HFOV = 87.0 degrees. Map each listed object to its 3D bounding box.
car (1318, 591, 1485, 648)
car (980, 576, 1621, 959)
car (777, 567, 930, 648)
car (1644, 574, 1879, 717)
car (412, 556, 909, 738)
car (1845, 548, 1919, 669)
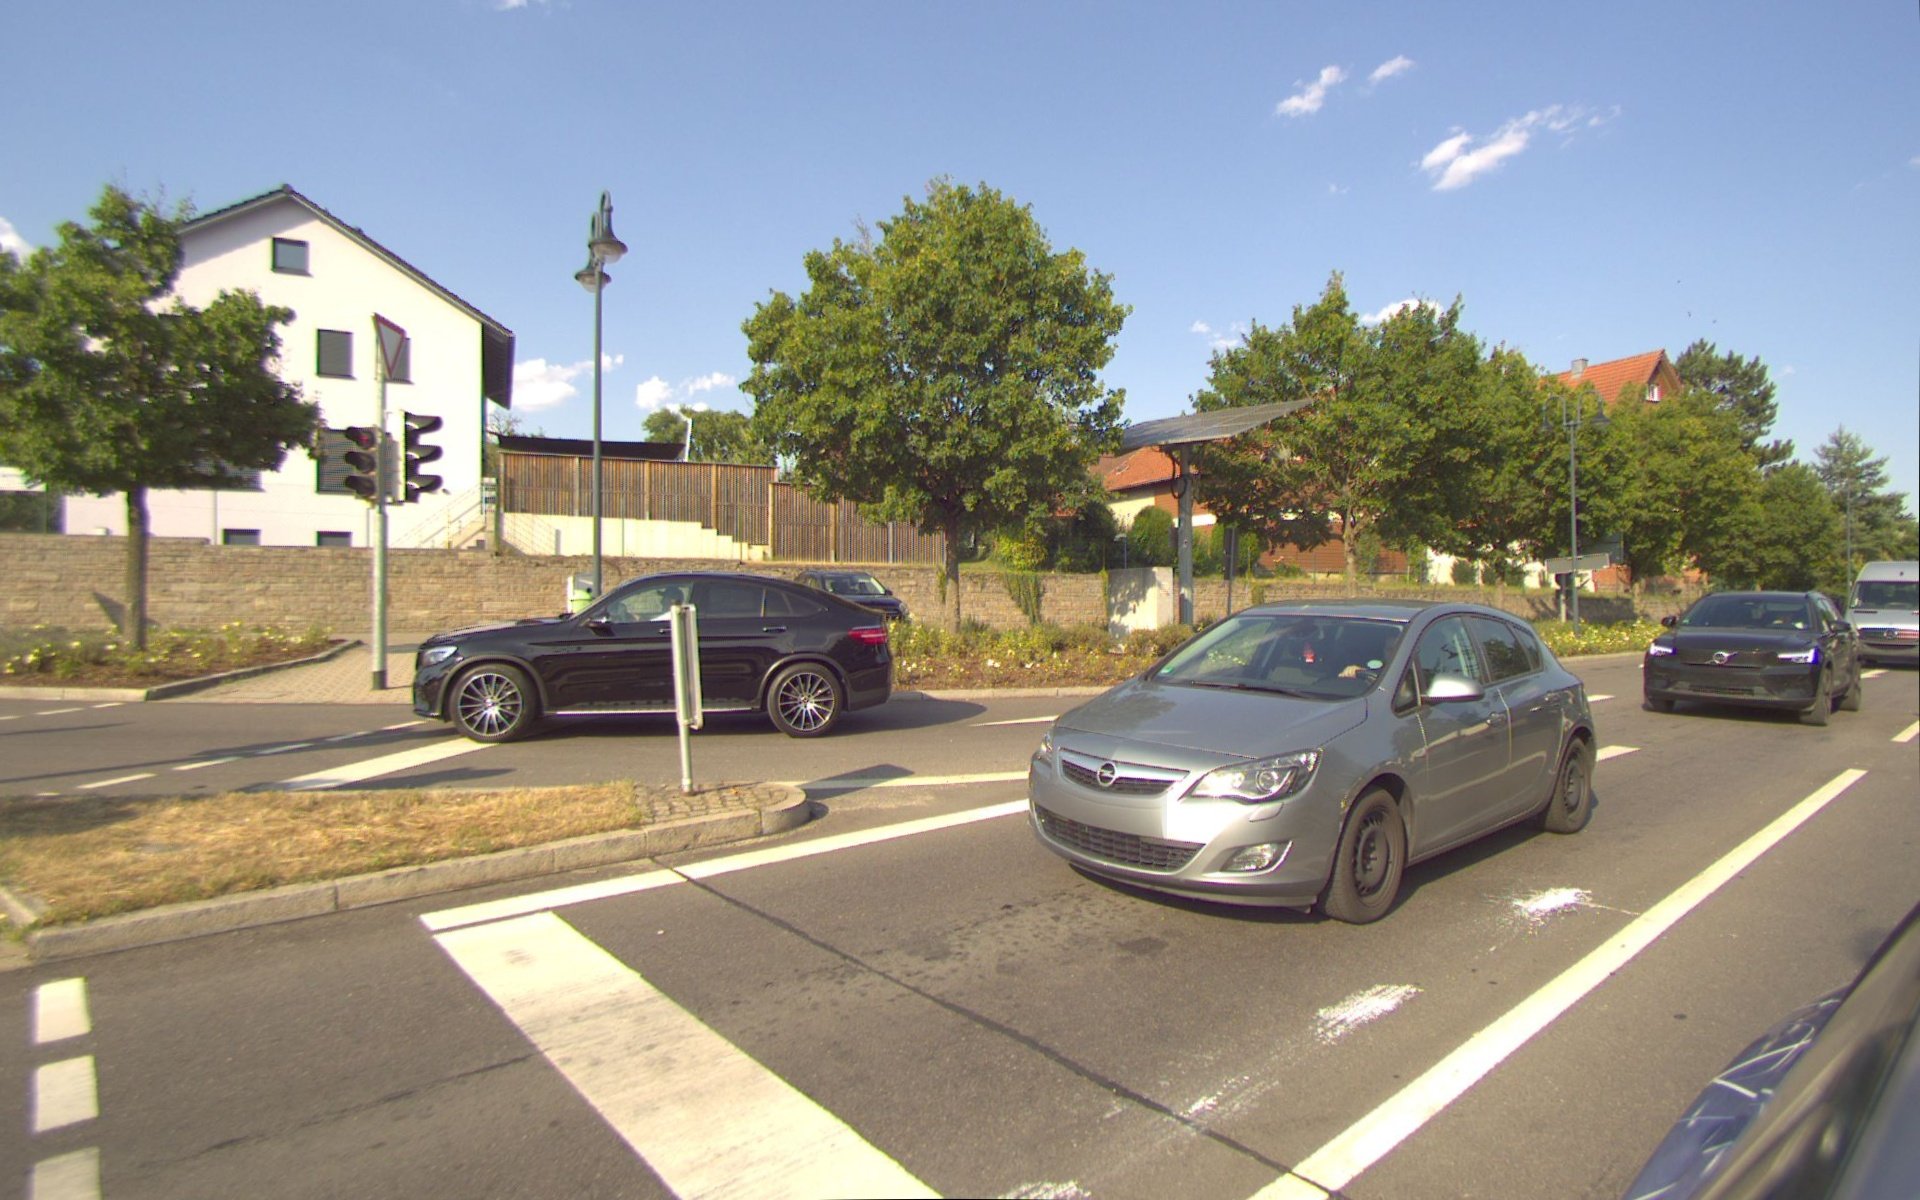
[{"bbox_3d":[12.199,0.492,28.205,1.714,1.449,4.002,1,0,-33],"label":"car"},{"bbox_3d":[2.184,0.641,5.840,4.071,1.440,1.651,1,1,-41],"label":"car"},{"bbox_3d":[-2.258,0.126,20.503,1.644,1.475,4.085,1,0,-28],"label":"car"},{"bbox_3d":[10.787,0.514,13.522,3.986,1.626,1.790,0,0,-41],"label":"car"},{"bbox_3d":[-2.872,0.396,10.253,4.400,1.586,1.850,0,1,-15],"label":"car"},{"bbox_3d":[23.713,0.183,24.966,6.535,2.691,2.038,0,1,-42],"label":"car"}]
